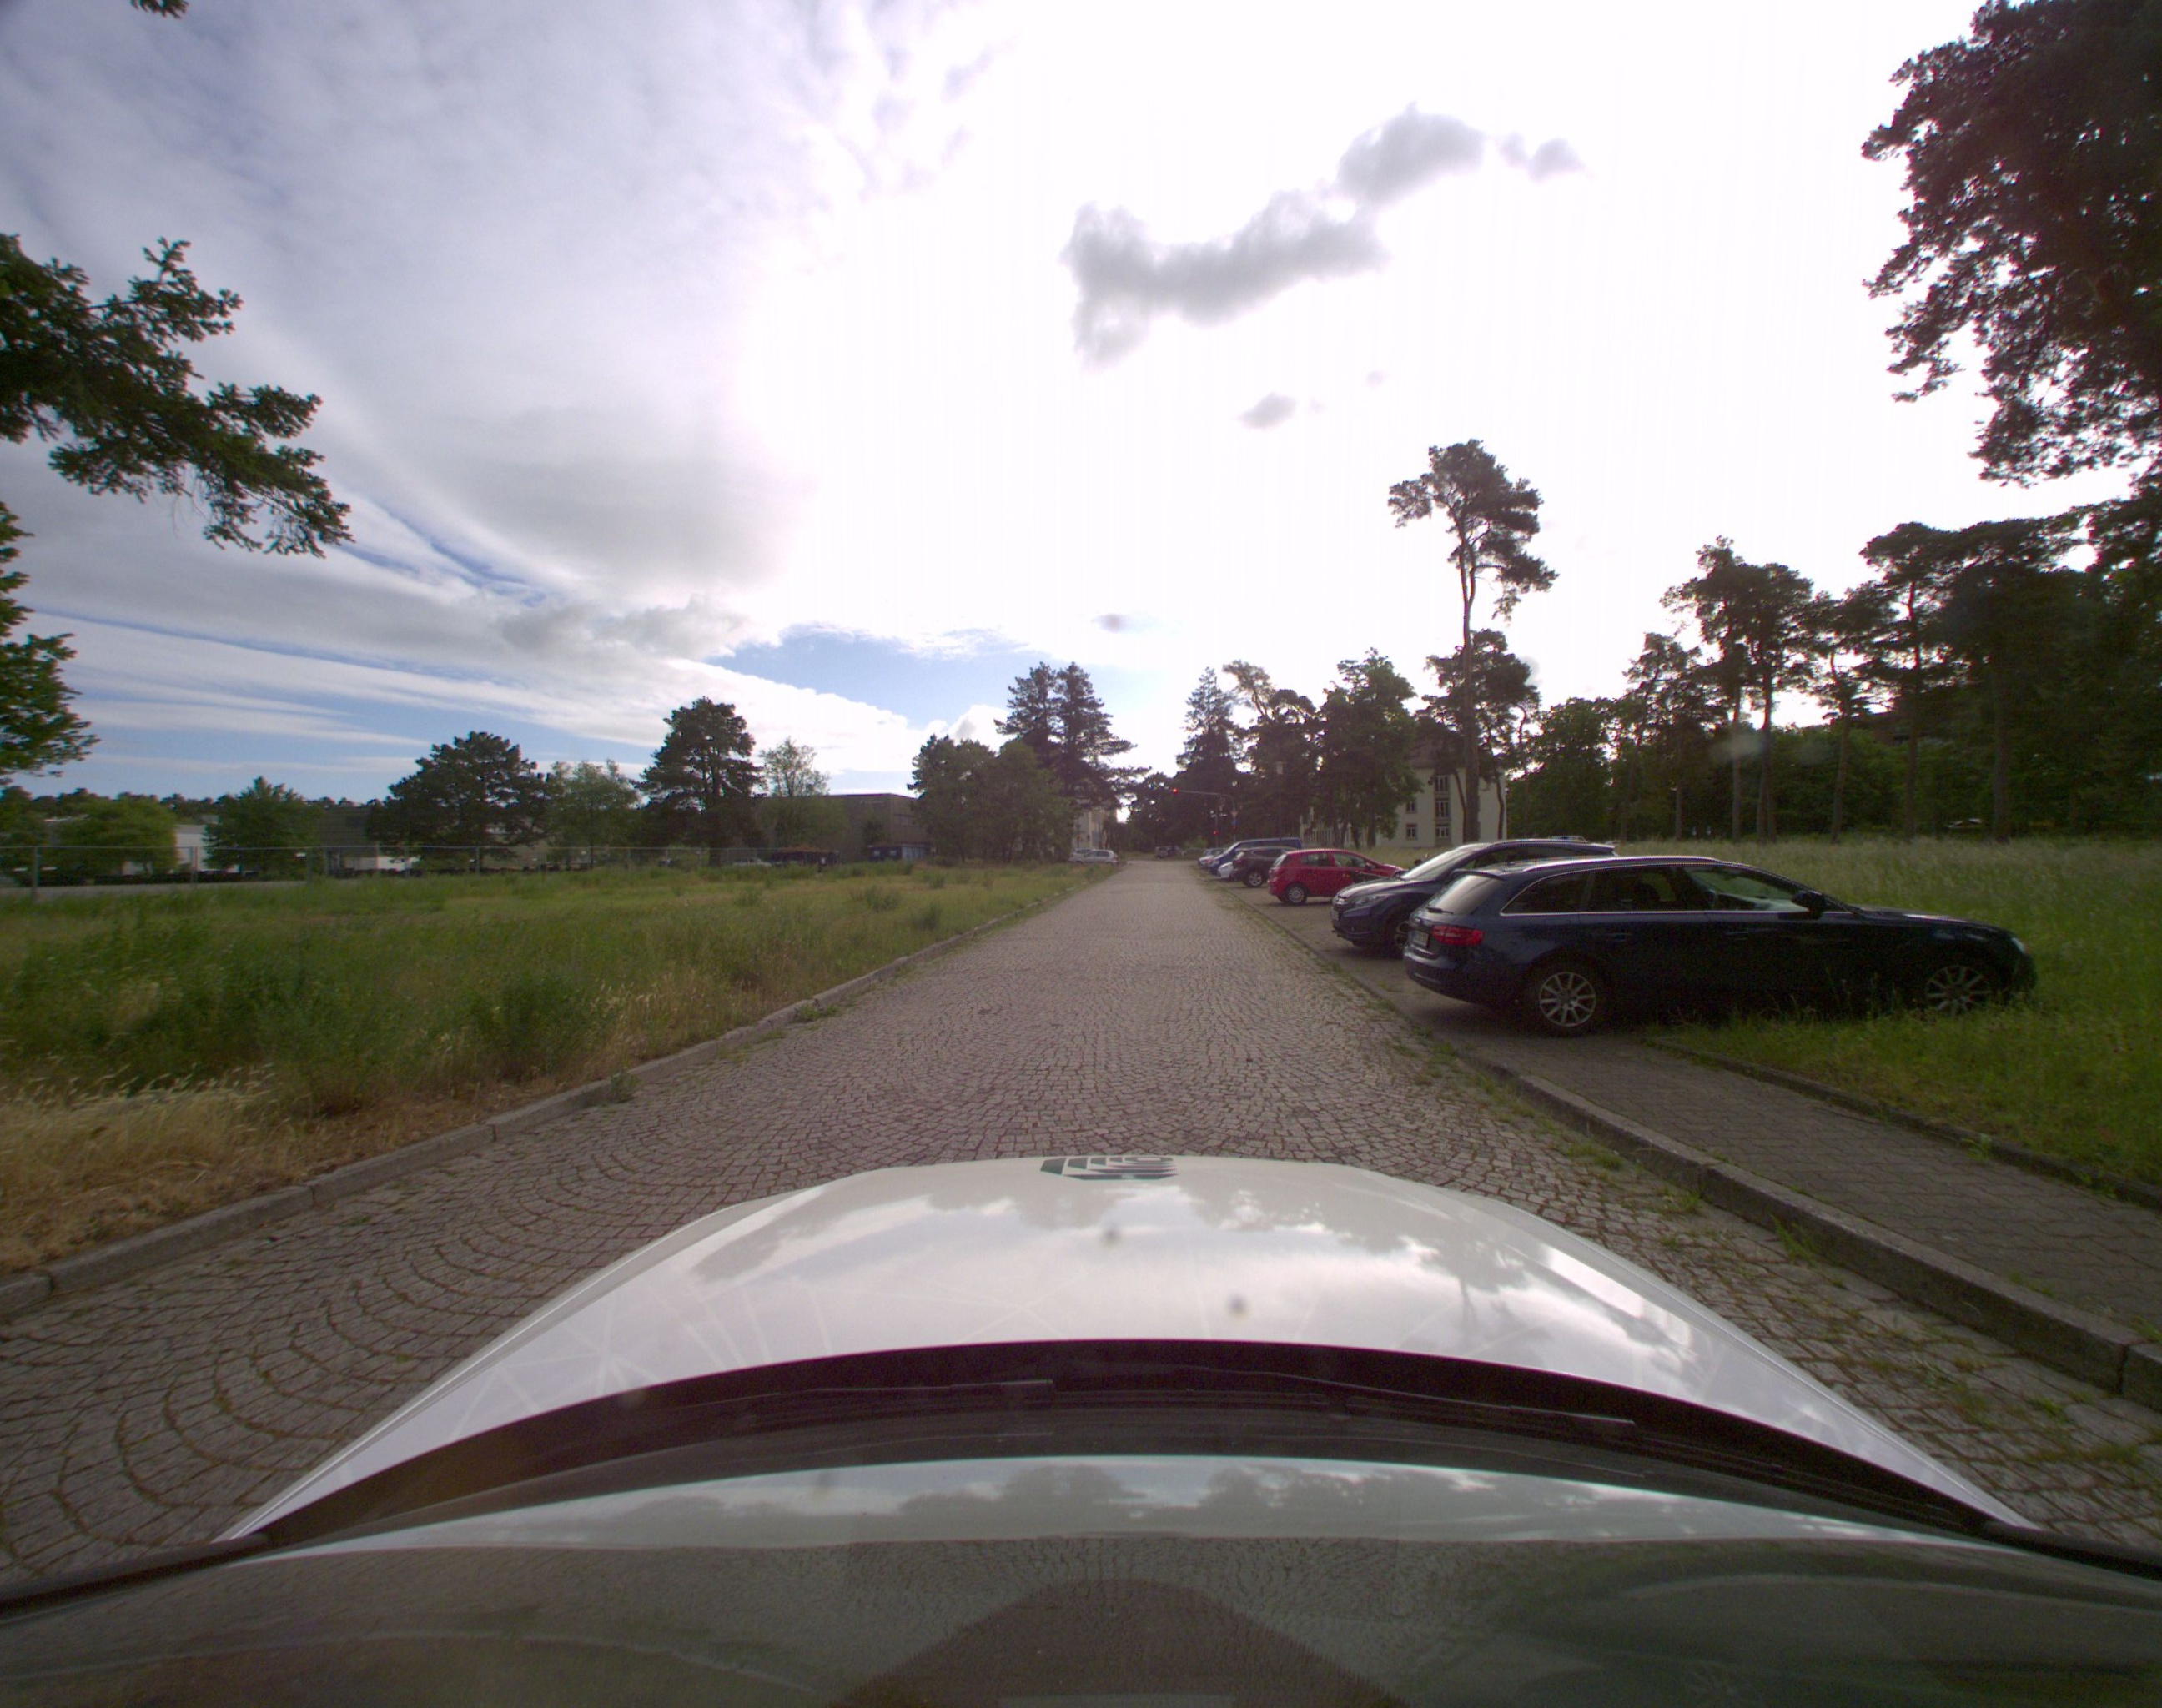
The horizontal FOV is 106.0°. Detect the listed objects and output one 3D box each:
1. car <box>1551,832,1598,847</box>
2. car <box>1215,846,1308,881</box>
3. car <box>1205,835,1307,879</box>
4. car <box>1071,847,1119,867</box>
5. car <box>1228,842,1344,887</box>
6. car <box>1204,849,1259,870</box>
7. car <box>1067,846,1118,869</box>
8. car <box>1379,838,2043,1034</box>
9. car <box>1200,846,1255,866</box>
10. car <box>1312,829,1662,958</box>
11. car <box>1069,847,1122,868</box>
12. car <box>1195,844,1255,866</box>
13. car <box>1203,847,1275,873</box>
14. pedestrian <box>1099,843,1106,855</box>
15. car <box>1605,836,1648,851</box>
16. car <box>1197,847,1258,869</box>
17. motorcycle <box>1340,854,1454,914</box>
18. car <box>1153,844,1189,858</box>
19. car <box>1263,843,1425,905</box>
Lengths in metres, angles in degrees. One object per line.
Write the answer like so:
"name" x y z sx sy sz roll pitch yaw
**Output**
"car" 68.515 -2.046 113.169 5.273 2.019 2.109 0 0 6
"car" 8.565 0.437 38.917 4.081 1.478 1.723 -2 0 2
"car" 8.843 0.123 41.449 4.774 2.004 1.968 -2 0 3
"car" 1.126 0.231 65.102 3.705 1.480 1.674 1 0 3
"car" 8.108 0.411 32.564 4.185 1.595 1.955 -2 0 3
"car" 10.145 0.376 55.118 3.567 1.222 1.632 -2 0 7
"car" 1.029 0.295 70.545 4.283 1.732 1.653 -2 0 0
"car" 5.175 0.661 7.335 4.333 1.439 1.931 -2 0 7
"car" 11.689 0.144 65.058 4.121 1.463 1.633 -2 0 0
"car" 5.776 0.543 12.049 4.226 1.622 1.889 -2 0 4
"car" 1.166 0.281 67.710 4.284 1.554 1.812 -2 0 0
"car" 11.020 0.096 62.551 4.222 1.479 1.707 -2 0 -5
"car" 9.597 0.361 49.643 4.109 1.447 1.769 -2 0 6
"pedestrian" 3.488 -0.817 130.824 1.069 1.959 1.123 0 0 6
"car" 68.568 -1.299 102.370 4.110 1.803 1.904 0 0 7
"car" 10.720 0.255 59.797 4.174 1.437 1.754 -2 0 -2
"motorcycle" 6.875 0.654 17.792 2.220 1.202 0.569 -2 0 3
"car" 14.622 -0.514 132.103 5.370 2.101 2.174 -1 0 -7
"car" 7.097 0.515 22.292 3.905 1.496 1.787 -2 0 4
